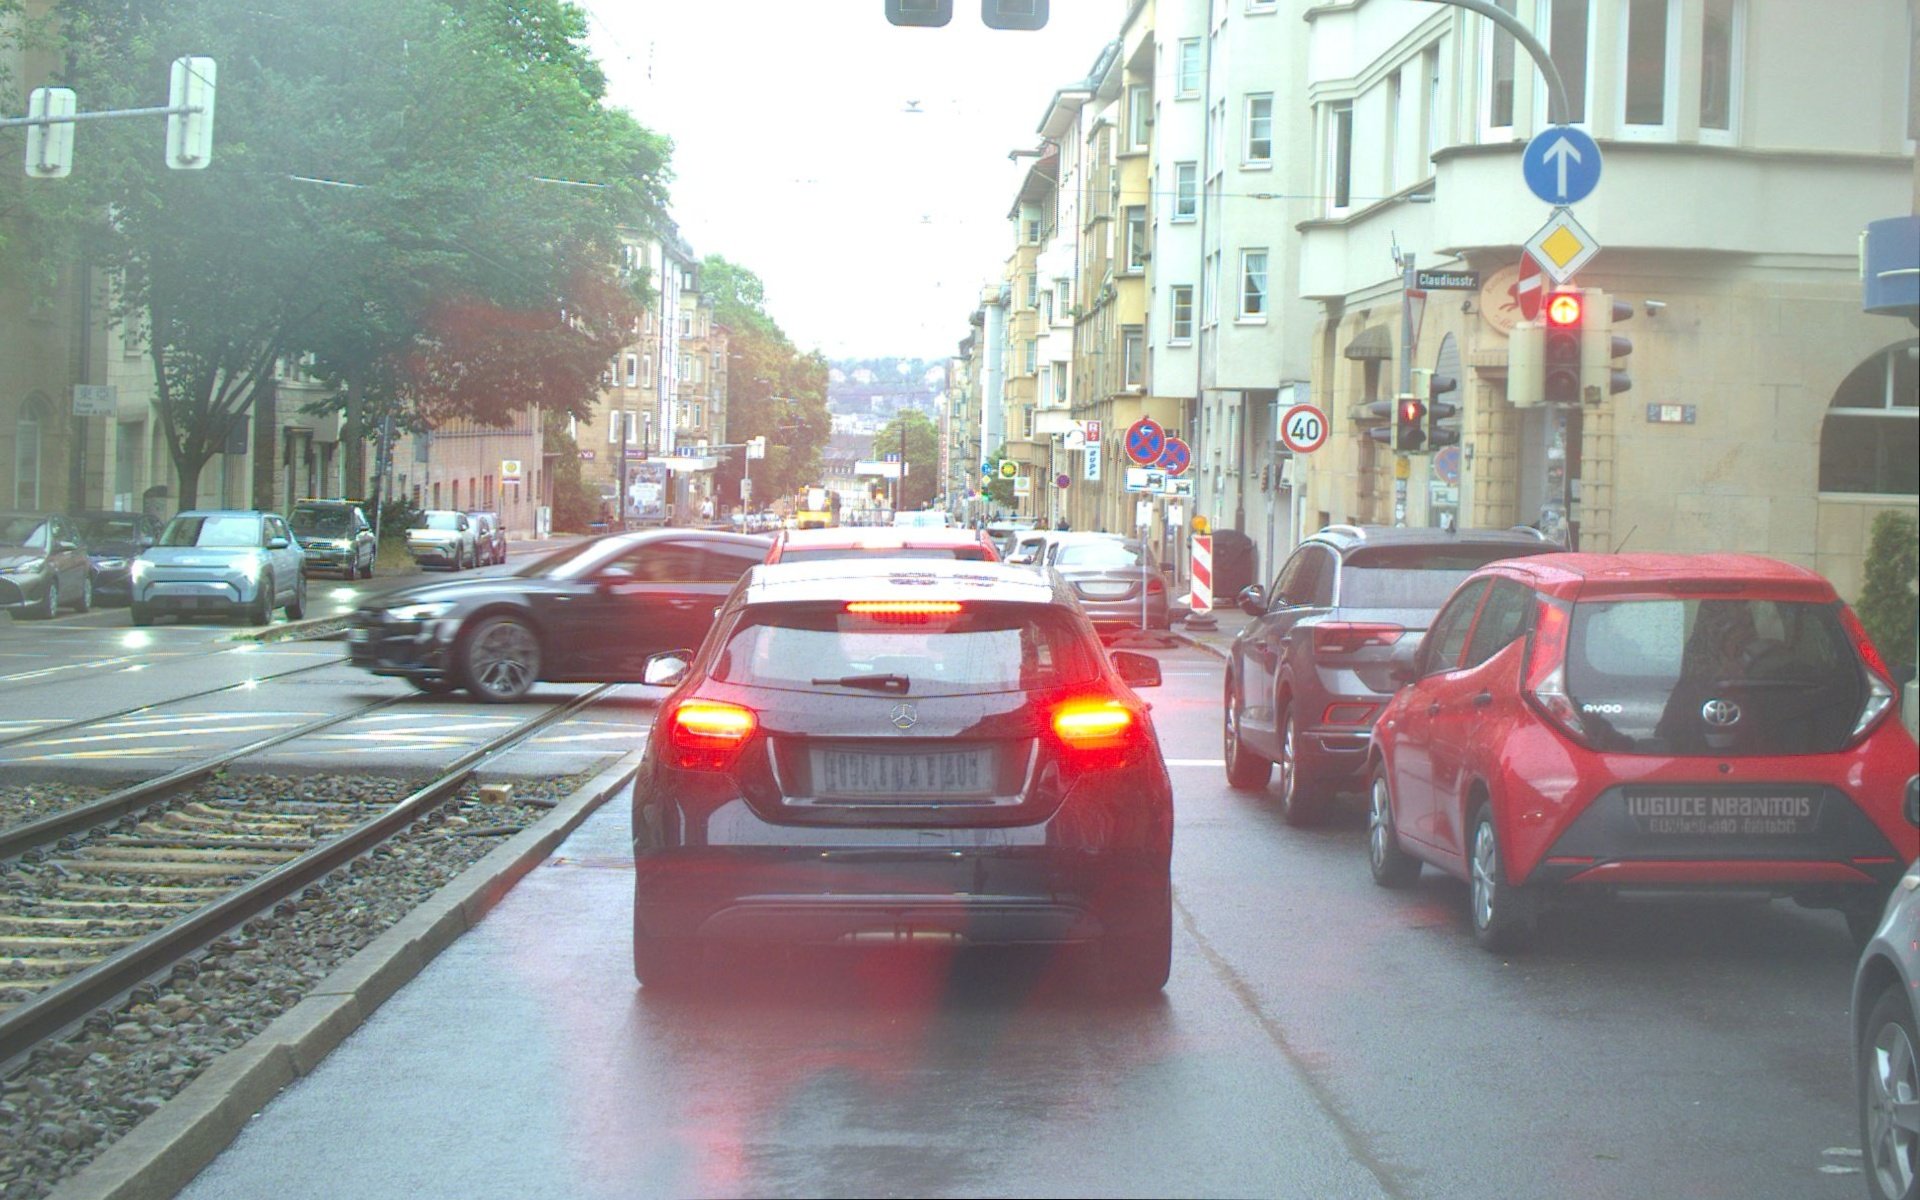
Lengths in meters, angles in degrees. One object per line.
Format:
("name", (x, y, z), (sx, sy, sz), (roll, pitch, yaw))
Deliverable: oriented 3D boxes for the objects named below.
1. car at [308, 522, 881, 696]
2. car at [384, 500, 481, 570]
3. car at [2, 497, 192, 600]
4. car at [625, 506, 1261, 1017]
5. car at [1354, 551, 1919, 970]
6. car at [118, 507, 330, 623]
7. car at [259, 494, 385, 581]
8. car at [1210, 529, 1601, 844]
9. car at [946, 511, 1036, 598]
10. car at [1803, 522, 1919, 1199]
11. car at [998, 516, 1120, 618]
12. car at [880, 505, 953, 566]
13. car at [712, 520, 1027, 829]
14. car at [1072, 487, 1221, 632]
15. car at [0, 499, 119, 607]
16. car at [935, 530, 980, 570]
("car", (-3.025, 0.077, 28.437), (4.264, 1.284, 2.001), (1, 1, -25))
("car", (-14.139, -1.751, 92.362), (1.993, 1.787, 4.000), (2, 1, -1))
("car", (-13.545, -0.818, 54.171), (1.993, 1.512, 4.000), (2, 1, -1))
("car", (-0.114, 0.485, 12.441), (1.946, 1.559, 3.643), (1, 0, -2))
("car", (2.624, 0.544, 13.676), (1.602, 1.414, 3.149), (1, 1, -2))
("car", (-10.313, -0.505, 48.464), (1.796, 1.543, 3.999), (1, 1, 5))
("car", (-13.854, -1.370, 74.899), (1.993, 1.787, 4.000), (2, 1, -1))
("car", (2.348, 0.390, 19.011), (1.549, 1.503, 4.000), (2, 1, -1))
("car", (0.638, -0.955, 74.068), (1.852, 1.791, 3.812), (1, 0, -1))
("car", (2.831, 0.649, 6.357), (1.638, 1.537, 3.466), (2, 1, 0))
("car", (1.750, -0.579, 62.214), (1.768, 1.770, 4.001), (1, 0, -5))
("car", (-1.222, -1.843, 97.963), (1.921, 1.649, 4.000), (2, 1, 1))
("car", (-0.473, 0.335, 19.285), (1.535, 1.505, 4.000), (2, 1, -1))
("car", (2.682, -0.569, 50.339), (1.898, 2.021, 4.176), (1, 0, -1))
("car", (-13.308, -0.665, 48.851), (1.771, 1.459, 4.000), (1, 1, -1))
("car", (-0.132, -2.206, 150.556), (1.909, 1.700, 4.000), (1, 1, -1))
